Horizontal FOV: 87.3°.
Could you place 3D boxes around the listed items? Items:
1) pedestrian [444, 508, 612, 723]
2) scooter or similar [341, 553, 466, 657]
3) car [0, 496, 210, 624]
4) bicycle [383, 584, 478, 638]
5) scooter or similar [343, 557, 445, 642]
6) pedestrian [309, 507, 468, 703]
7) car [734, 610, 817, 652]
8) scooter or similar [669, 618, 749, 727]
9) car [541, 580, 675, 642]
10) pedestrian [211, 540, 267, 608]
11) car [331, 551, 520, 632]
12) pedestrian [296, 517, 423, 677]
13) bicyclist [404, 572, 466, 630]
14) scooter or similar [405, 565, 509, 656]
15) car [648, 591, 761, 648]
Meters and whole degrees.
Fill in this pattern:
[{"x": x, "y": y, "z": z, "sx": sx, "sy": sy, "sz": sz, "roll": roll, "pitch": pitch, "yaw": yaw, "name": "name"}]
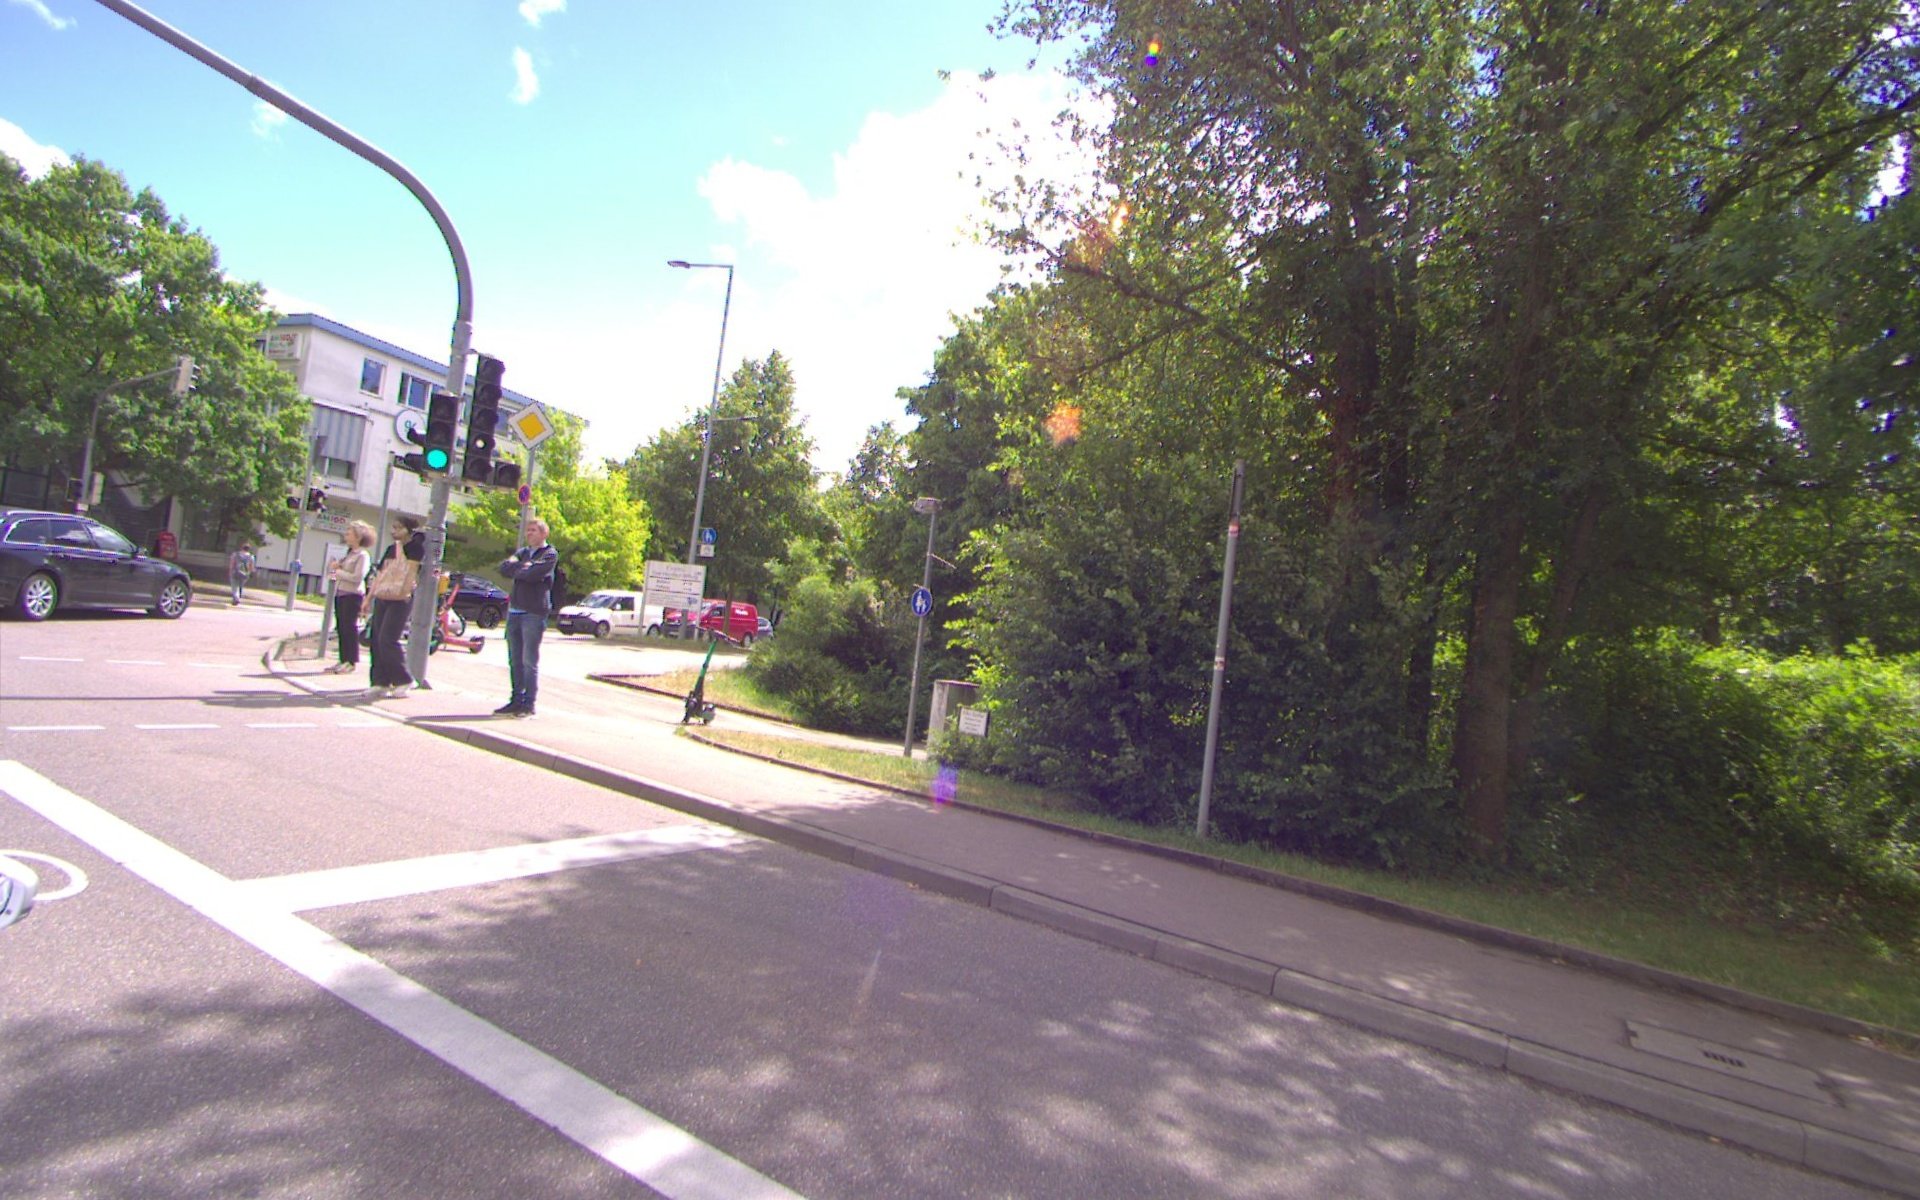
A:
[{"x": -4.280, "y": 0.170, "z": 10.006, "sx": 0.881, "sy": 1.964, "sz": 0.968, "roll": 7, "pitch": -1, "yaw": 28, "name": "pedestrian"}, {"x": -7.877, "y": 0.086, "z": 14.278, "sx": 0.455, "sy": 1.292, "sz": 1.344, "roll": 8, "pitch": -1, "yaw": 38, "name": "scooter or similar"}, {"x": -13.059, "y": -0.582, "z": 14.149, "sx": 1.966, "sy": 1.571, "sz": 4.518, "roll": 7, "pitch": -2, "yaw": -8, "name": "car"}, {"x": -10.822, "y": 0.225, "z": 20.556, "sx": 1.776, "sy": 0.828, "sz": 0.794, "roll": 7, "pitch": -2, "yaw": 28, "name": "bicycle"}, {"x": -8.938, "y": 0.023, "z": 15.942, "sx": 0.533, "sy": 1.168, "sz": 1.362, "roll": 9, "pitch": -3, "yaw": 7, "name": "scooter or similar"}, {"x": -5.664, "y": 0.061, "z": 10.010, "sx": 0.758, "sy": 1.787, "sz": 0.936, "roll": 7, "pitch": 0, "yaw": 20, "name": "pedestrian"}, {"x": -9.799, "y": 1.704, "z": 53.801, "sx": 1.964, "sy": 1.737, "sz": 4.575, "roll": 7, "pitch": -2, "yaw": 24, "name": "car"}, {"x": -3.341, "y": 1.000, "z": 13.524, "sx": 0.706, "sy": 1.287, "sz": 1.243, "roll": 10, "pitch": -7, "yaw": -7, "name": "scooter or similar"}, {"x": -12.928, "y": 0.463, "z": 37.246, "sx": 1.963, "sy": 1.737, "sz": 4.576, "roll": 7, "pitch": -2, "yaw": 23, "name": "car"}, {"x": -19.410, "y": -0.694, "z": 27.097, "sx": 0.892, "sy": 1.662, "sz": 0.770, "roll": 7, "pitch": -2, "yaw": 32, "name": "pedestrian"}, {"x": -15.774, "y": -0.191, "z": 29.968, "sx": 1.964, "sy": 1.737, "sz": 4.574, "roll": 7, "pitch": -2, "yaw": 25, "name": "car"}, {"x": -6.922, "y": -0.038, "z": 11.595, "sx": 0.950, "sy": 1.694, "sz": 0.860, "roll": 7, "pitch": -1, "yaw": -43, "name": "pedestrian"}, {"x": -10.692, "y": 0.031, "z": 20.500, "sx": 0.625, "sy": 1.034, "sz": 0.794, "roll": 7, "pitch": -2, "yaw": 28, "name": "bicyclist"}, {"x": -7.929, "y": 0.186, "z": 15.910, "sx": 0.547, "sy": 1.254, "sz": 1.231, "roll": 8, "pitch": -3, "yaw": 23, "name": "scooter or similar"}, {"x": -10.626, "y": 0.890, "z": 42.319, "sx": 1.964, "sy": 1.885, "sz": 4.822, "roll": 5, "pitch": -3, "yaw": 23, "name": "car"}]
